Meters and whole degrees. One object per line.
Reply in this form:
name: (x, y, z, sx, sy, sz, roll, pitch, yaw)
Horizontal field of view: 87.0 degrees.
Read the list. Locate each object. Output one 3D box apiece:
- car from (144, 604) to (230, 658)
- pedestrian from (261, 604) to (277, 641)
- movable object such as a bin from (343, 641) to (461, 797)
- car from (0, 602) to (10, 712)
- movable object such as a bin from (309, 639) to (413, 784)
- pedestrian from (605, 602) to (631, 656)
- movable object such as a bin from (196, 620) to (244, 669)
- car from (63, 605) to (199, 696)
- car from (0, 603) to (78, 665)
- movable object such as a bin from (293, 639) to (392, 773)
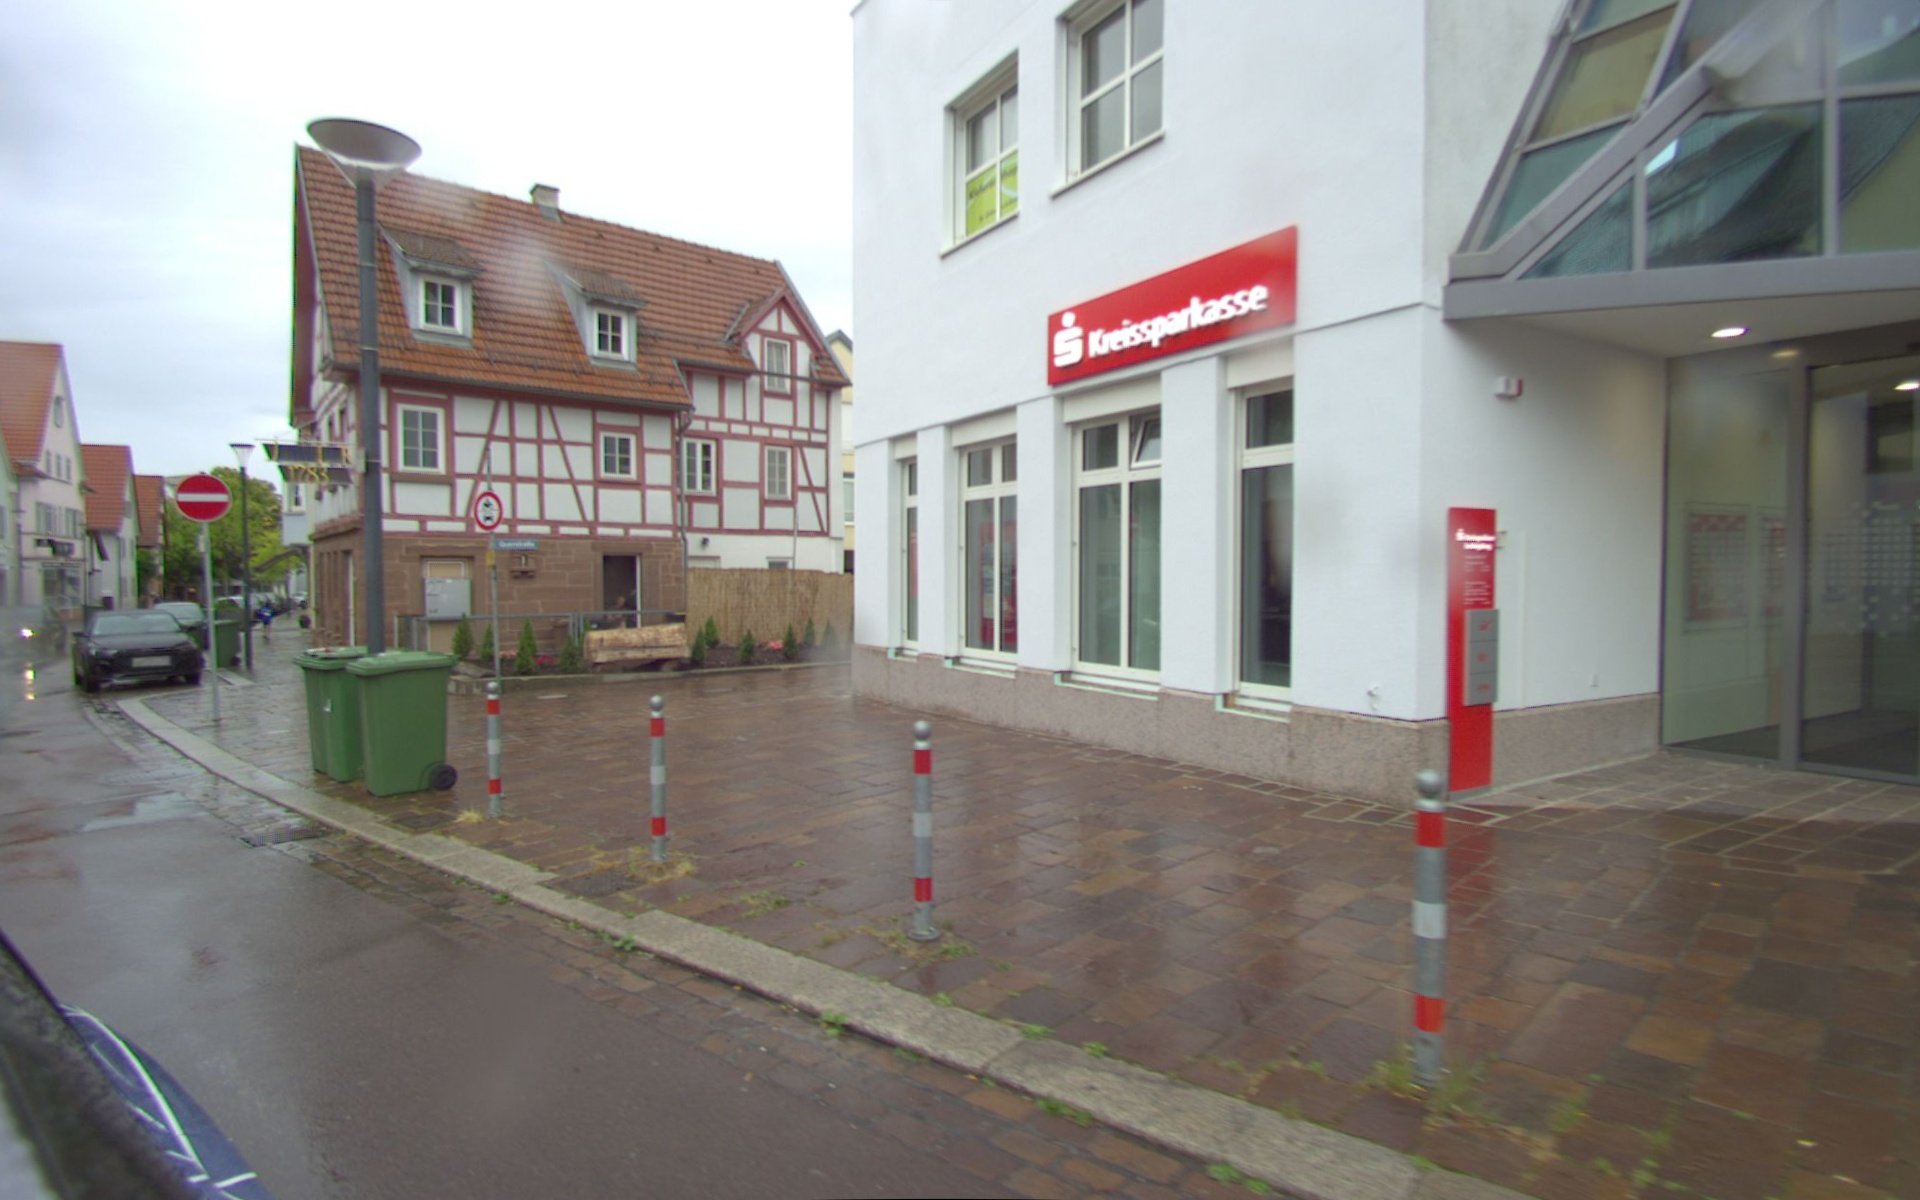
car: (-25.090, 0.951, 32.983, 1.967, 1.540, 4.010, -4, 2, -35)
pedestrian: (-24.491, 0.791, 35.880, 0.448, 1.317, 0.518, -1, 0, -34)
movable object such as a bin: (-4.337, 0.890, 7.866, 0.613, 1.104, 0.651, 0, 0, 44)
car: (-14.453, 0.823, 13.994, 1.710, 1.567, 3.851, 0, 0, -40)
movable object such as a bin: (-5.034, 0.905, 8.509, 0.651, 1.123, 0.553, 0, 0, -44)
pedestrian: (-7.542, 0.636, 22.309, 0.406, 1.163, 0.425, -1, 0, -41)
movable object such as a bin: (-17.565, 1.039, 24.025, 0.823, 1.120, 0.920, 0, 0, -42)
car: (-16.377, 0.909, 19.926, 1.670, 1.497, 4.003, -4, 3, -44)
car: (-28.397, 0.982, 30.746, 1.967, 1.763, 4.010, 0, 0, -35)
movable object such as a bin: (-5.458, 0.910, 8.946, 0.651, 1.090, 0.553, 0, 0, -44)
